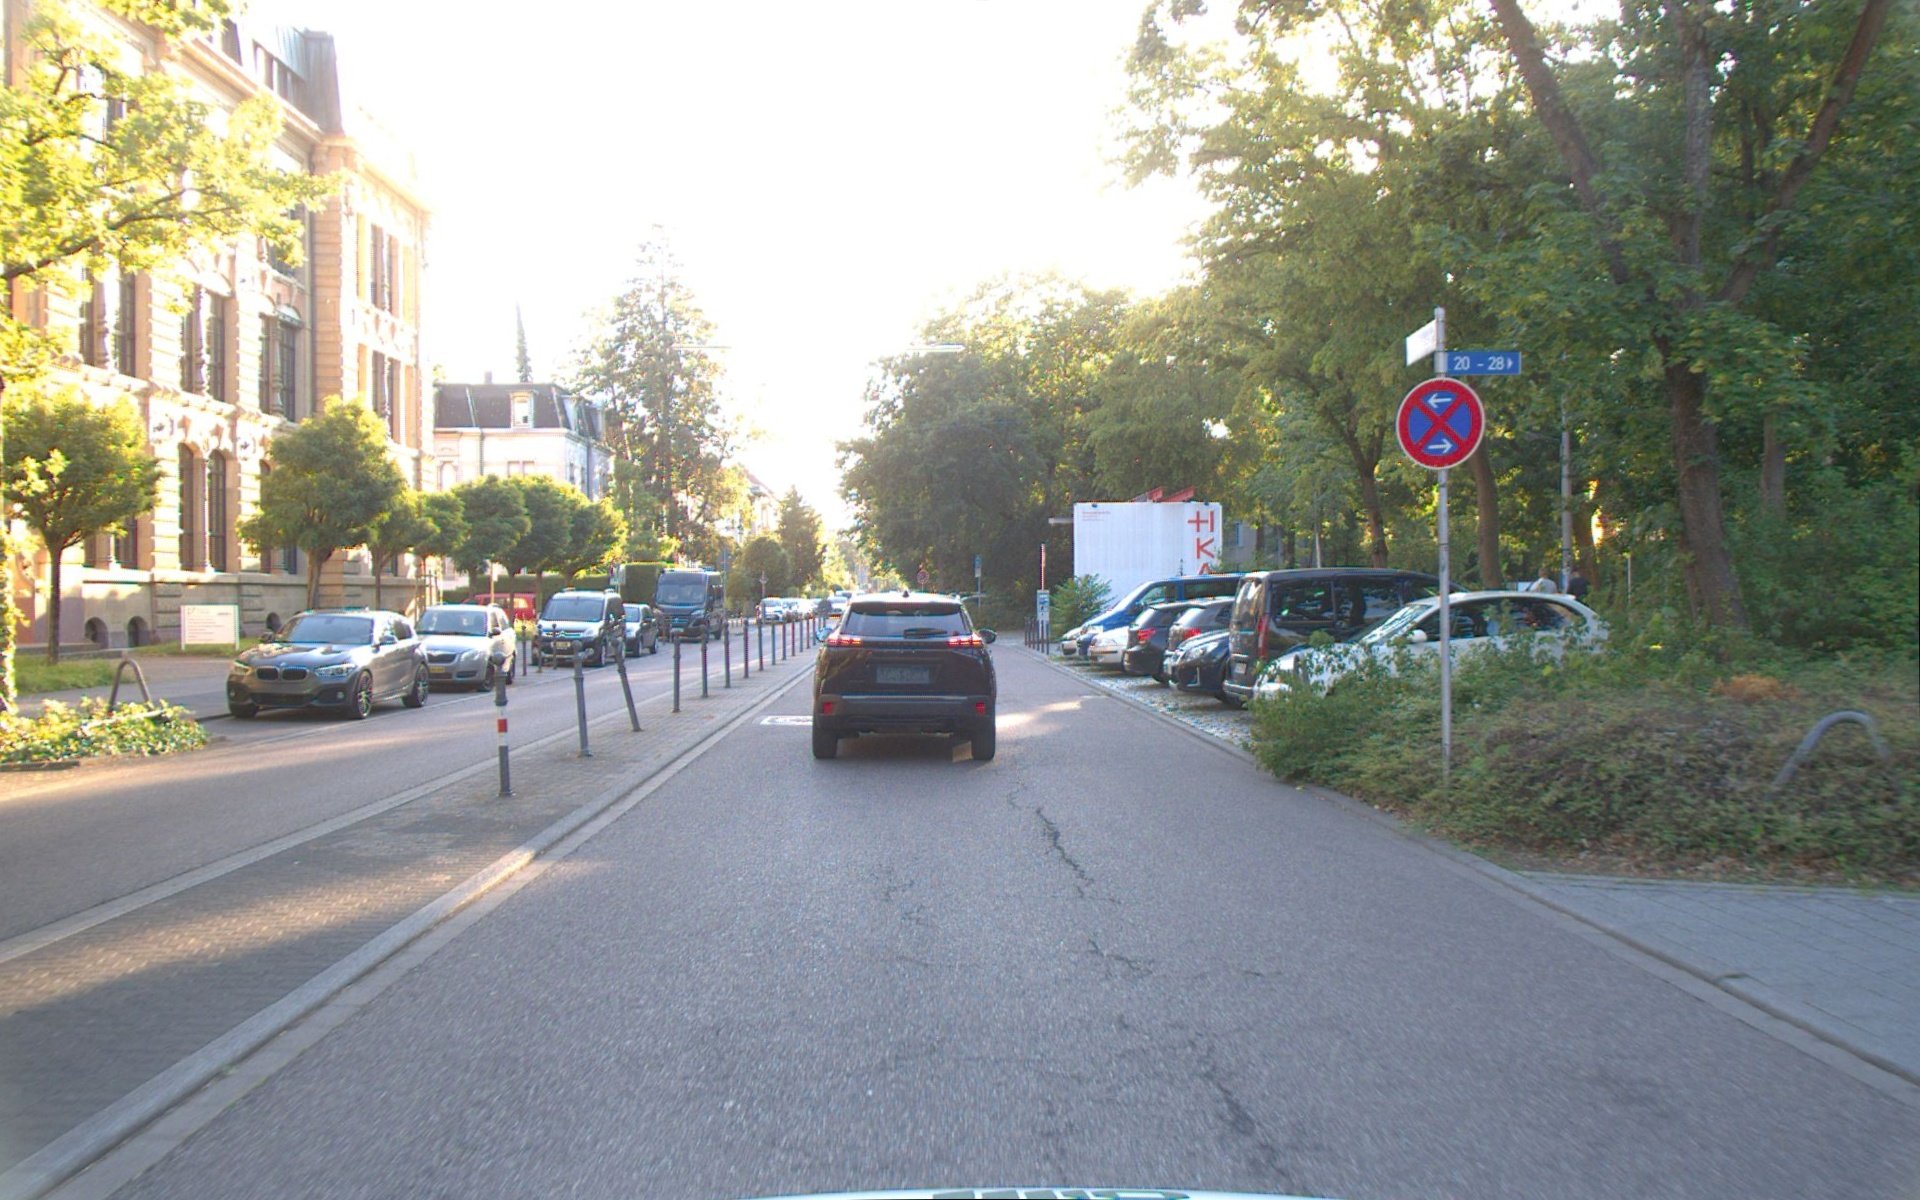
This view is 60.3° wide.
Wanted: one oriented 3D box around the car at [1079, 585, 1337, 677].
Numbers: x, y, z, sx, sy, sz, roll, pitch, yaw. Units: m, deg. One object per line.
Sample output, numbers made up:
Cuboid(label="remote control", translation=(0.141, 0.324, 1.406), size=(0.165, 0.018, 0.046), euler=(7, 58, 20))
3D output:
Cuboid(label="car", translation=(4.942, 0.599, 33.394), size=(4.828, 1.581, 1.915), euler=(-3, 0, -3))

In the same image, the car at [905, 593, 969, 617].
Cuboid(label="car", translation=(-1.568, 0.311, 112.028), size=(4.159, 1.474, 2.020), euler=(-2, 0, -4))

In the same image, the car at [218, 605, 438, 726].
Cuboid(label="car", translation=(-8.846, 0.850, 23.545), size=(1.585, 1.522, 4.375), euler=(0, 0, -2))

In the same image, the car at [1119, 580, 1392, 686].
Cuboid(label="car", translation=(5.032, 0.541, 28.559), size=(4.276, 1.564, 1.920), euler=(-3, 0, -3))

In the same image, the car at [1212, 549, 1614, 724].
Cuboid(label="car", translation=(5.400, 0.415, 20.097), size=(4.276, 1.811, 1.920), euler=(-3, 0, -3))

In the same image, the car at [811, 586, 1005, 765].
Cuboid(label="car", translation=(-0.528, 0.666, 16.976), size=(1.736, 1.596, 4.107), euler=(1, 1, -2))

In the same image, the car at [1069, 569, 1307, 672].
Cuboid(label="car", translation=(4.860, 0.419, 35.711), size=(4.755, 1.949, 1.915), euler=(-3, 0, -3))

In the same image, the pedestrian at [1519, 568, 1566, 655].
Cuboid(label="pedestrian", translation=(12.193, 0.231, 34.652), size=(0.651, 1.803, 0.785), euler=(0, 0, -6))

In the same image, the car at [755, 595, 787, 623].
Cuboid(label="car", translation=(-10.960, 0.528, 96.149), size=(1.582, 1.541, 3.709), euler=(-2, 0, -4))

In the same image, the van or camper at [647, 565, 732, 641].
Cuboid(label="van or camper", translation=(-9.847, 0.095, 60.780), size=(2.185, 2.589, 7.076), euler=(1, 0, -2))

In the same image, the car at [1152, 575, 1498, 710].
Cuboid(label="car", translation=(4.943, 0.550, 22.807), size=(4.276, 1.581, 1.875), euler=(-3, 0, -3))

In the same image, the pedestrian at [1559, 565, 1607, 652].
Cuboid(label="pedestrian", translation=(13.138, 0.182, 34.903), size=(0.634, 1.803, 0.789), euler=(0, -1, -6))

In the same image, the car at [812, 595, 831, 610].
Cuboid(label="car", translation=(-15.340, 0.239, 183.458), size=(1.861, 1.601, 3.998), euler=(0, 0, -2))

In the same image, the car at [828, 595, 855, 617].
Cuboid(label="car", translation=(-8.399, 0.412, 117.503), size=(1.706, 1.483, 4.622), euler=(-1, 0, -2))

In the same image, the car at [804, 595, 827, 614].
Cuboid(label="car", translation=(-12.133, 0.376, 138.973), size=(1.717, 1.438, 3.762), euler=(-2, 1, -3))

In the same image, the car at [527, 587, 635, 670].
Cuboid(label="car", translation=(-9.409, 0.657, 41.355), size=(1.741, 1.898, 4.331), euler=(2, 0, -2))

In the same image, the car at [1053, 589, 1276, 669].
Cuboid(label="car", translation=(4.676, 0.643, 38.251), size=(4.828, 1.581, 1.915), euler=(-3, 0, -3))

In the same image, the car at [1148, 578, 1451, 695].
Cuboid(label="car", translation=(5.264, 0.552, 26.011), size=(4.276, 1.564, 1.920), euler=(-3, 0, -3))

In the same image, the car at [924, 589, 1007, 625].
Cuboid(label="car", translation=(0.243, 0.315, 78.944), size=(3.907, 1.581, 1.725), euler=(-1, 1, -2))

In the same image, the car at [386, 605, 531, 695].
Cuboid(label="car", translation=(-9.238, 0.875, 30.792), size=(1.685, 1.522, 4.373), euler=(0, 0, -5))

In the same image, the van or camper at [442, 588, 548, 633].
Cuboid(label="van or camper", translation=(-23.190, 0.513, 82.619), size=(4.671, 2.020, 2.001), euler=(-1, 4, 0))

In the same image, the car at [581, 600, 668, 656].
Cuboid(label="car", translation=(-9.511, 0.767, 47.173), size=(1.662, 1.496, 3.854), euler=(2, 0, 0))

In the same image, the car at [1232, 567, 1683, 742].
Cuboid(label="car", translation=(5.242, 0.551, 17.771), size=(4.276, 1.581, 1.726), euler=(-3, 0, -3))
